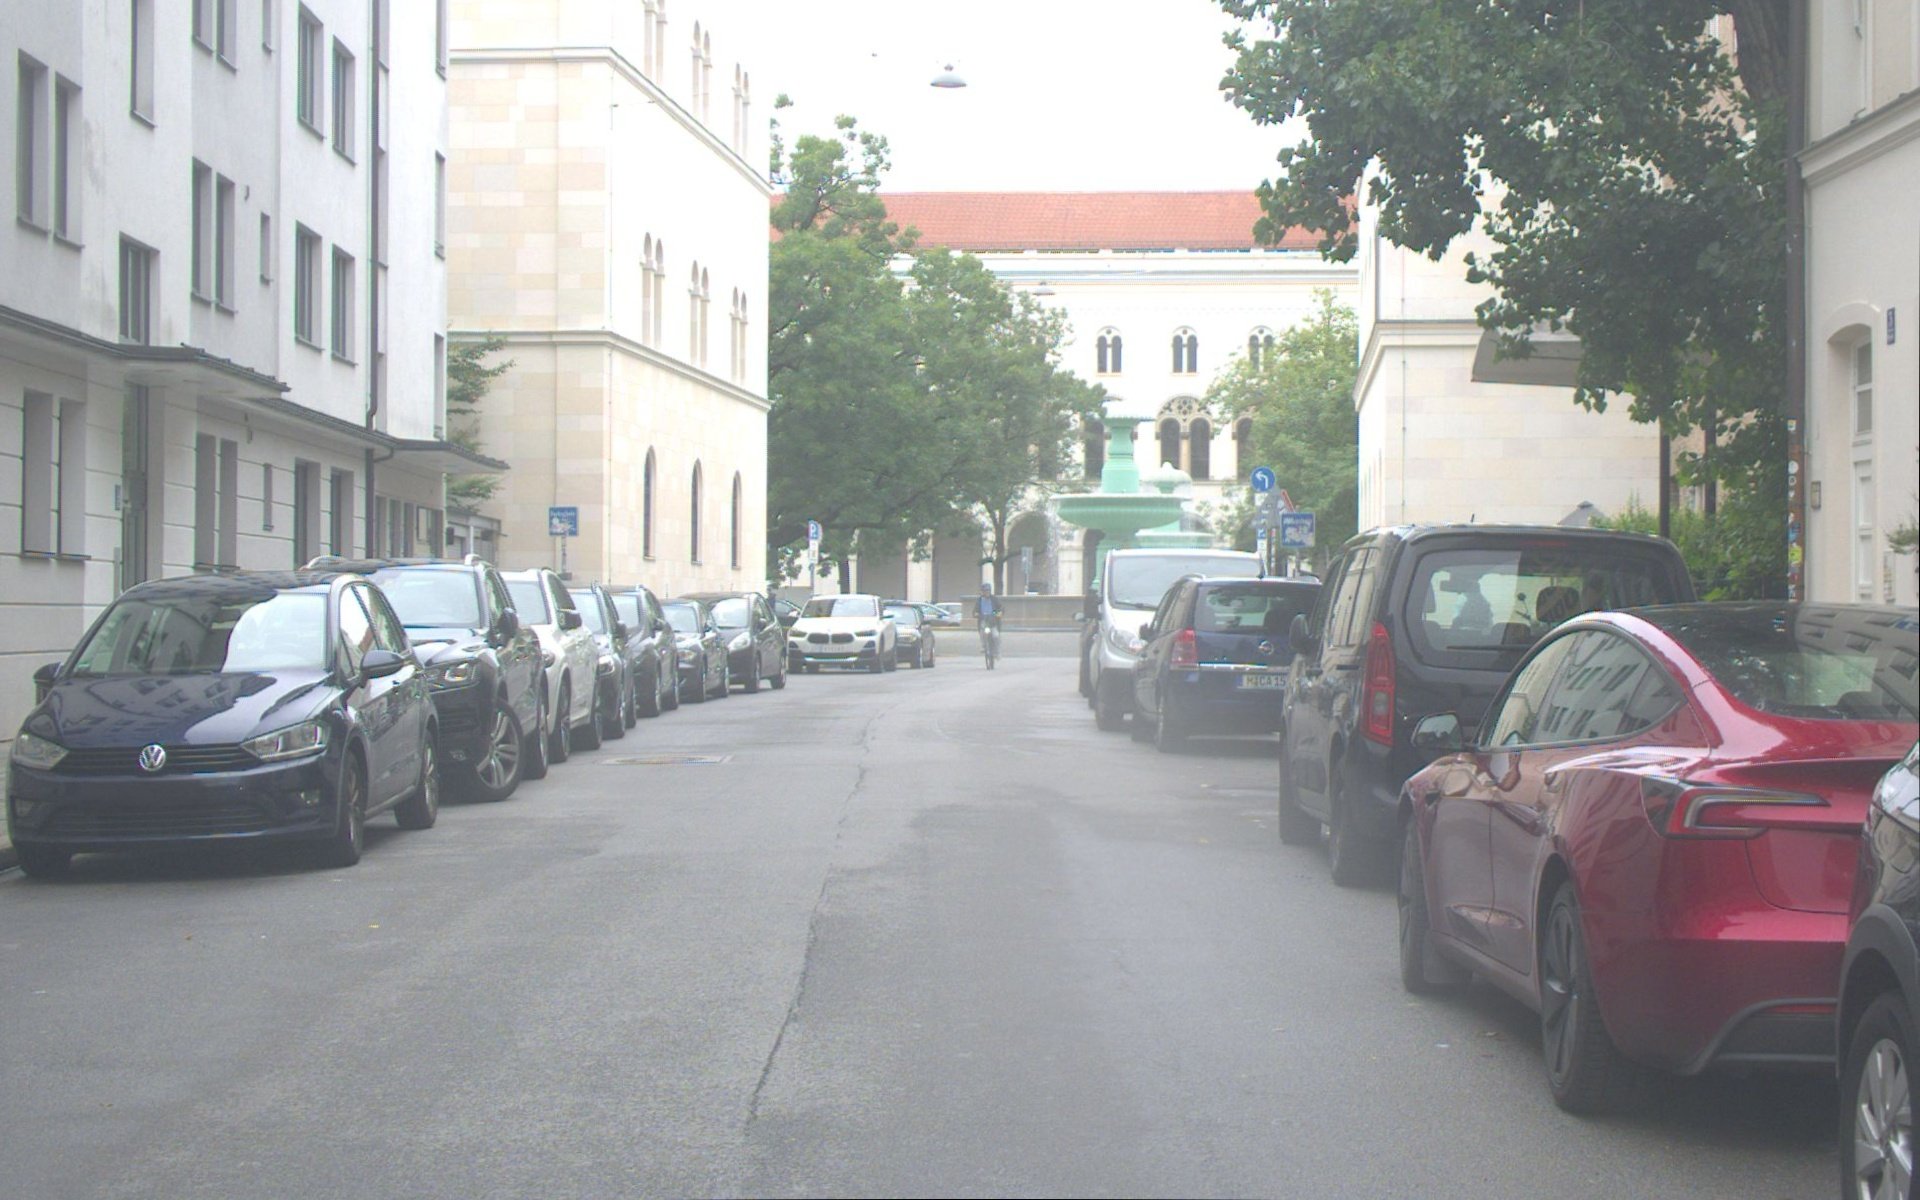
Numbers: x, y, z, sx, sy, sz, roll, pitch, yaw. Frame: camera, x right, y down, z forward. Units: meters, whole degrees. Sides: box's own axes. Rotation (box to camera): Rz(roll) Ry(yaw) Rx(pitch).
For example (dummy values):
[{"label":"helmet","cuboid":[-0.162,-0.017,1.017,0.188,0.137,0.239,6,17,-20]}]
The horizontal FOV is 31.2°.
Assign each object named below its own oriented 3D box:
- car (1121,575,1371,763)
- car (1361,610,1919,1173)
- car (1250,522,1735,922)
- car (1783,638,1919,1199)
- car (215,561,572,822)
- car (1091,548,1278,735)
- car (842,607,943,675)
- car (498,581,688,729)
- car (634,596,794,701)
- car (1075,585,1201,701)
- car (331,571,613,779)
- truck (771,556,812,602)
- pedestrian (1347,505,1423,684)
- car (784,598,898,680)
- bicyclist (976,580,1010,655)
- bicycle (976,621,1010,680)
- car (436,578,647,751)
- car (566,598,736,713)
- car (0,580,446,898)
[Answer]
[{"label":"car","cuboid":[2.581,0.595,31.937,1.807,1.595,4.215,1,0,-2]},{"label":"car","cuboid":[2.456,0.750,10.979,1.713,1.419,4.458,0,0,-1]},{"label":"car","cuboid":[2.640,0.578,18.018,1.846,1.770,4.201,2,0,0]},{"label":"car","cuboid":[2.732,0.830,5.724,1.746,1.459,4.000,0,0,0]},{"label":"car","cuboid":[-3.985,0.577,24.904,1.872,1.682,4.520,-1,1,-1]},{"label":"car","cuboid":[2.408,0.425,37.877,1.882,1.918,4.874,0,0,2]},{"label":"car","cuboid":[-1.417,0.885,73.656,1.699,1.388,4.210,-1,-1,5]},{"label":"car","cuboid":[-4.423,0.630,41.931,1.872,1.652,4.080,-1,1,0]},{"label":"car","cuboid":[-3.680,0.704,52.108,1.751,1.448,4.014,-1,1,5]},{"label":"car","cuboid":[2.608,0.616,50.372,1.747,1.588,3.955,1,0,3]},{"label":"car","cuboid":[-4.222,0.590,30.400,1.872,1.652,4.591,-1,1,-1]},{"label":"truck","cuboid":[-9.422,-1.188,191.963,1.993,2.480,4.001,1,0,-6]},{"label":"pedestrian","cuboid":[5.265,-0.068,42.616,0.793,2.190,0.813,1,0,0]},{"label":"car","cuboid":[-2.296,0.769,67.356,1.778,1.529,4.211,-1,-1,4]},{"label":"bicyclist","cuboid":[0.685,0.370,71.093,0.657,1.545,0.887,0,-1,3]},{"label":"bicycle","cuboid":[0.692,1.030,70.921,0.648,1.193,1.950,0,0,2]},{"label":"car","cuboid":[-4.351,0.621,36.304,1.872,1.652,4.591,-1,1,-3]},{"label":"car","cuboid":[-4.209,0.732,47.391,1.751,1.448,4.015,-1,1,3]},{"label":"car","cuboid":[-4.059,0.684,19.233,1.773,1.534,4.159,-1,1,-1]}]
